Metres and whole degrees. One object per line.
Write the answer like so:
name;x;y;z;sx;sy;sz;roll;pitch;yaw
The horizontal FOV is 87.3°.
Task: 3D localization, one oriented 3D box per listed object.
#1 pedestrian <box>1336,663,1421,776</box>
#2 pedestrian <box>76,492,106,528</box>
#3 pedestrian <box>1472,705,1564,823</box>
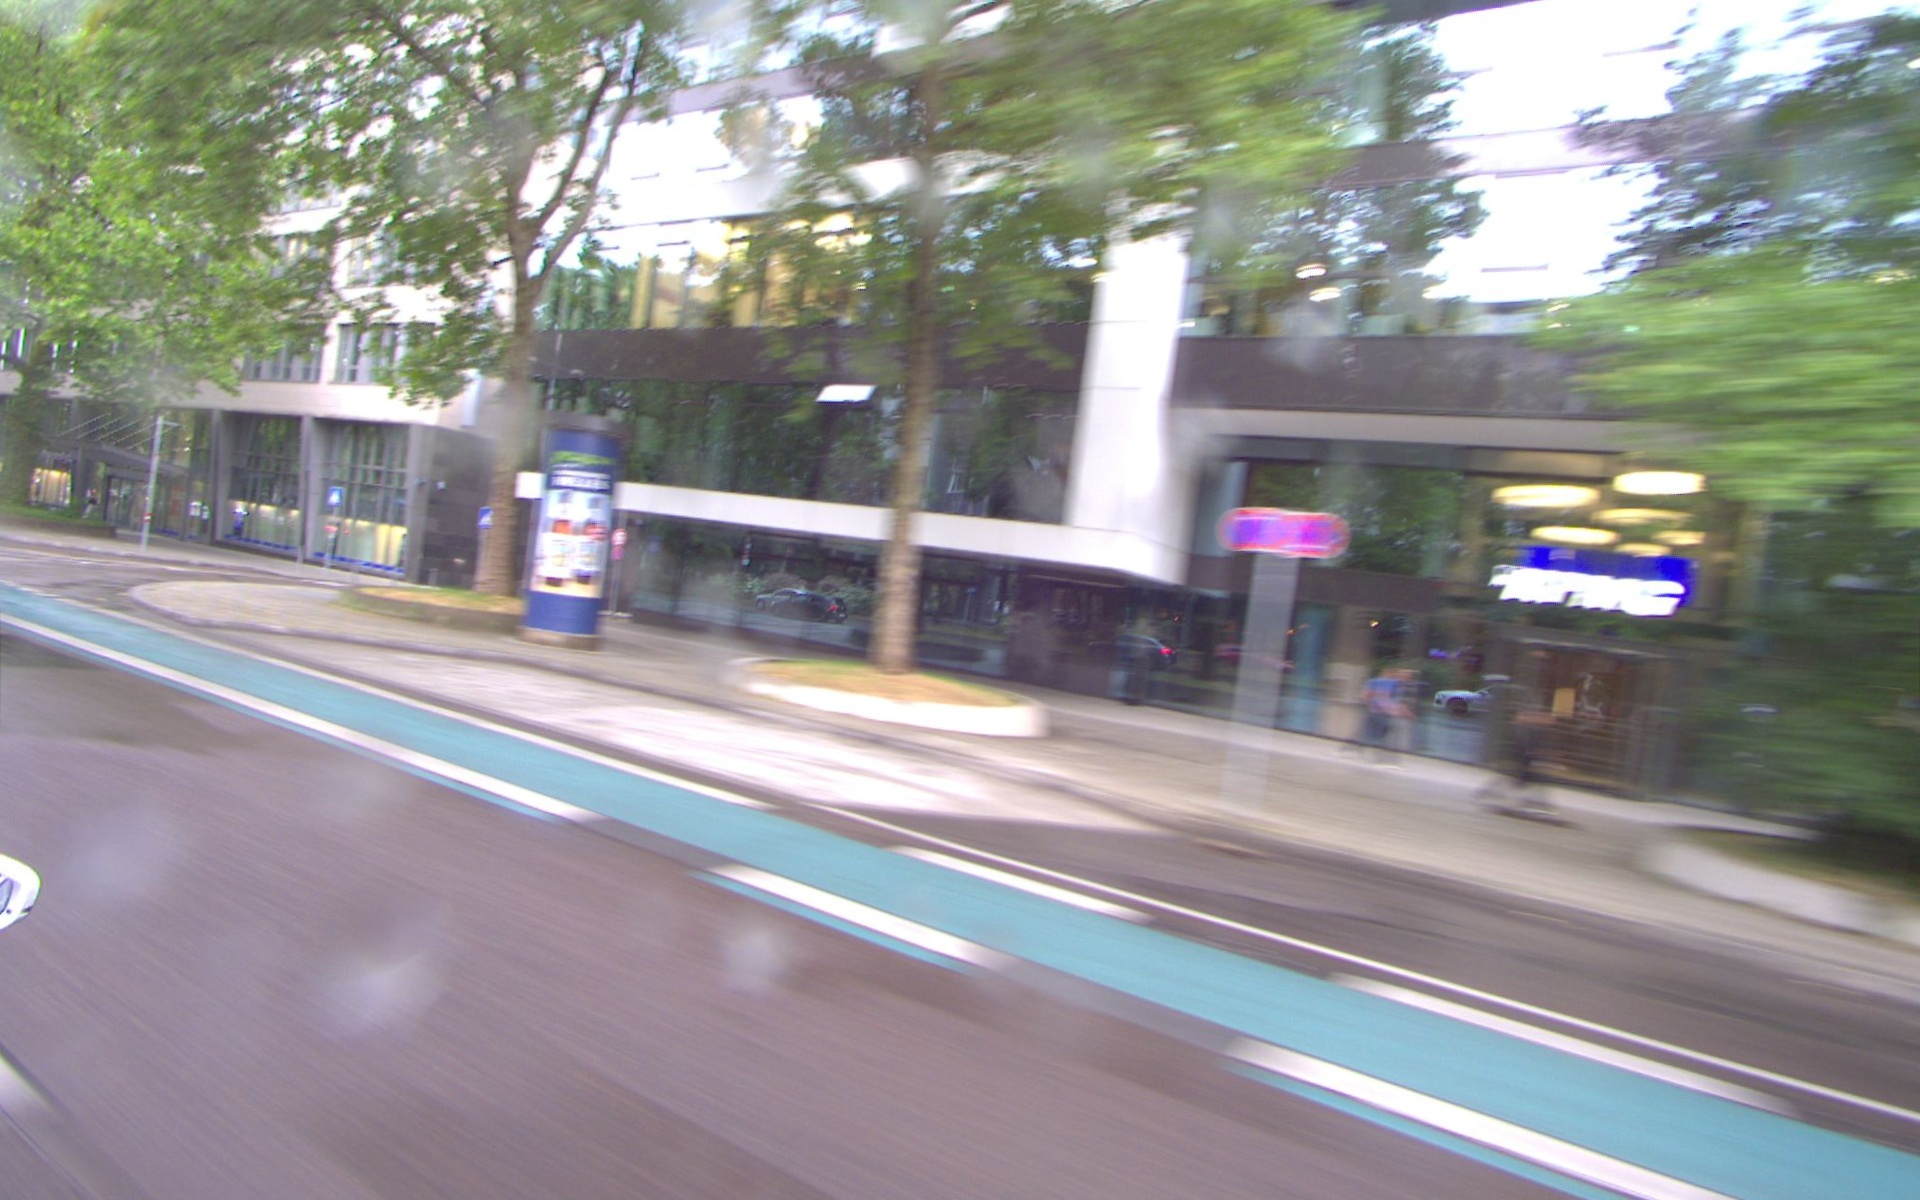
pedestrian;7.505;2.107;18.042;1.069;1.817;0.787;9;3;33
pedestrian;-44.796;-4.617;51.864;0.718;1.714;0.825;7;1;-16
pedestrian;8.189;2.380;14.768;0.988;1.524;0.587;8;1;32
